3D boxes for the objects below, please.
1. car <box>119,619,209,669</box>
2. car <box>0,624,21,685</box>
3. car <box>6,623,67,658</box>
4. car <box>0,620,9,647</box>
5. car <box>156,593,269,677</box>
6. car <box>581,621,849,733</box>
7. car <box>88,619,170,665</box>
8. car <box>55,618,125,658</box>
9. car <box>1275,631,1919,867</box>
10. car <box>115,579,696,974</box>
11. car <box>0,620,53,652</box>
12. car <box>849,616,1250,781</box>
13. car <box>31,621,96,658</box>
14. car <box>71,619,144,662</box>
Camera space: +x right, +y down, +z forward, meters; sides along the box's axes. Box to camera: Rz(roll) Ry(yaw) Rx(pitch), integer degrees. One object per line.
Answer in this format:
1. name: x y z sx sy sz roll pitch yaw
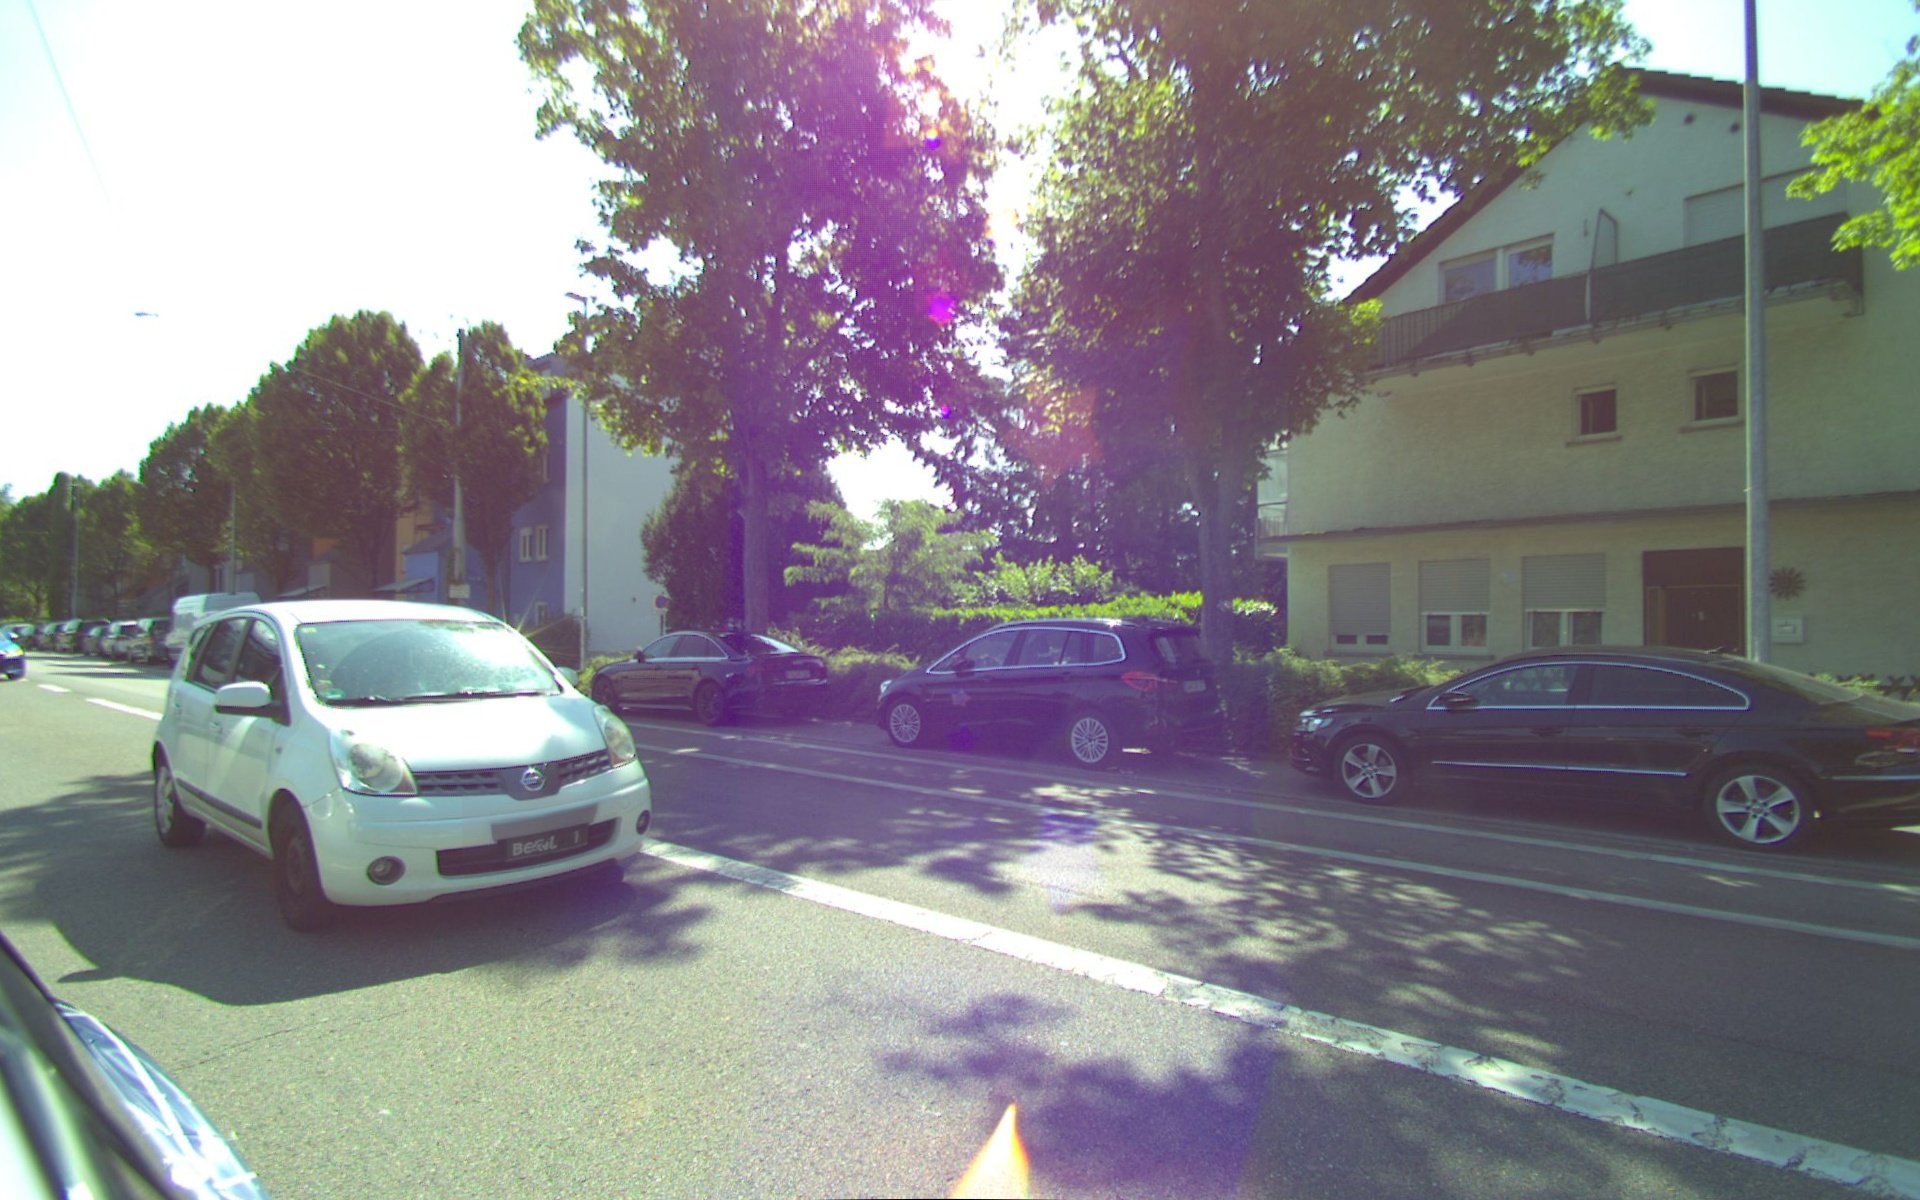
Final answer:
1. car: -33.471 1.807 42.512 4.766 1.818 1.974 -2 4 41
2. car: -24.976 1.313 25.149 5.073 1.441 1.865 -1 -3 41
3. car: -54.893 2.377 60.127 4.766 1.818 1.974 -2 4 41
4. car: -69.107 2.448 71.656 4.766 1.818 1.974 -2 4 41
5. car: -27.380 1.239 36.956 6.213 2.713 1.973 -2 4 43
6. car: -4.090 1.153 16.513 4.616 1.583 1.845 -1 -2 39
7. car: -38.061 1.910 46.324 4.766 1.818 1.974 -2 4 41
8. car: -45.742 1.996 53.177 4.766 1.818 1.974 -2 4 41
9. car: 5.228 1.008 8.417 4.619 1.426 1.844 -1 0 41
10. car: -3.614 0.745 6.141 4.544 1.559 1.645 -1 -1 41
11. car: -59.843 2.301 64.724 4.766 1.818 1.974 -2 4 41
12. car: 0.919 1.025 12.240 4.619 1.583 1.844 -1 0 41
13. car: -50.229 2.199 56.691 4.766 1.818 1.974 -2 4 41
14. car: -42.132 1.973 49.997 4.254 1.818 1.974 -2 4 41
